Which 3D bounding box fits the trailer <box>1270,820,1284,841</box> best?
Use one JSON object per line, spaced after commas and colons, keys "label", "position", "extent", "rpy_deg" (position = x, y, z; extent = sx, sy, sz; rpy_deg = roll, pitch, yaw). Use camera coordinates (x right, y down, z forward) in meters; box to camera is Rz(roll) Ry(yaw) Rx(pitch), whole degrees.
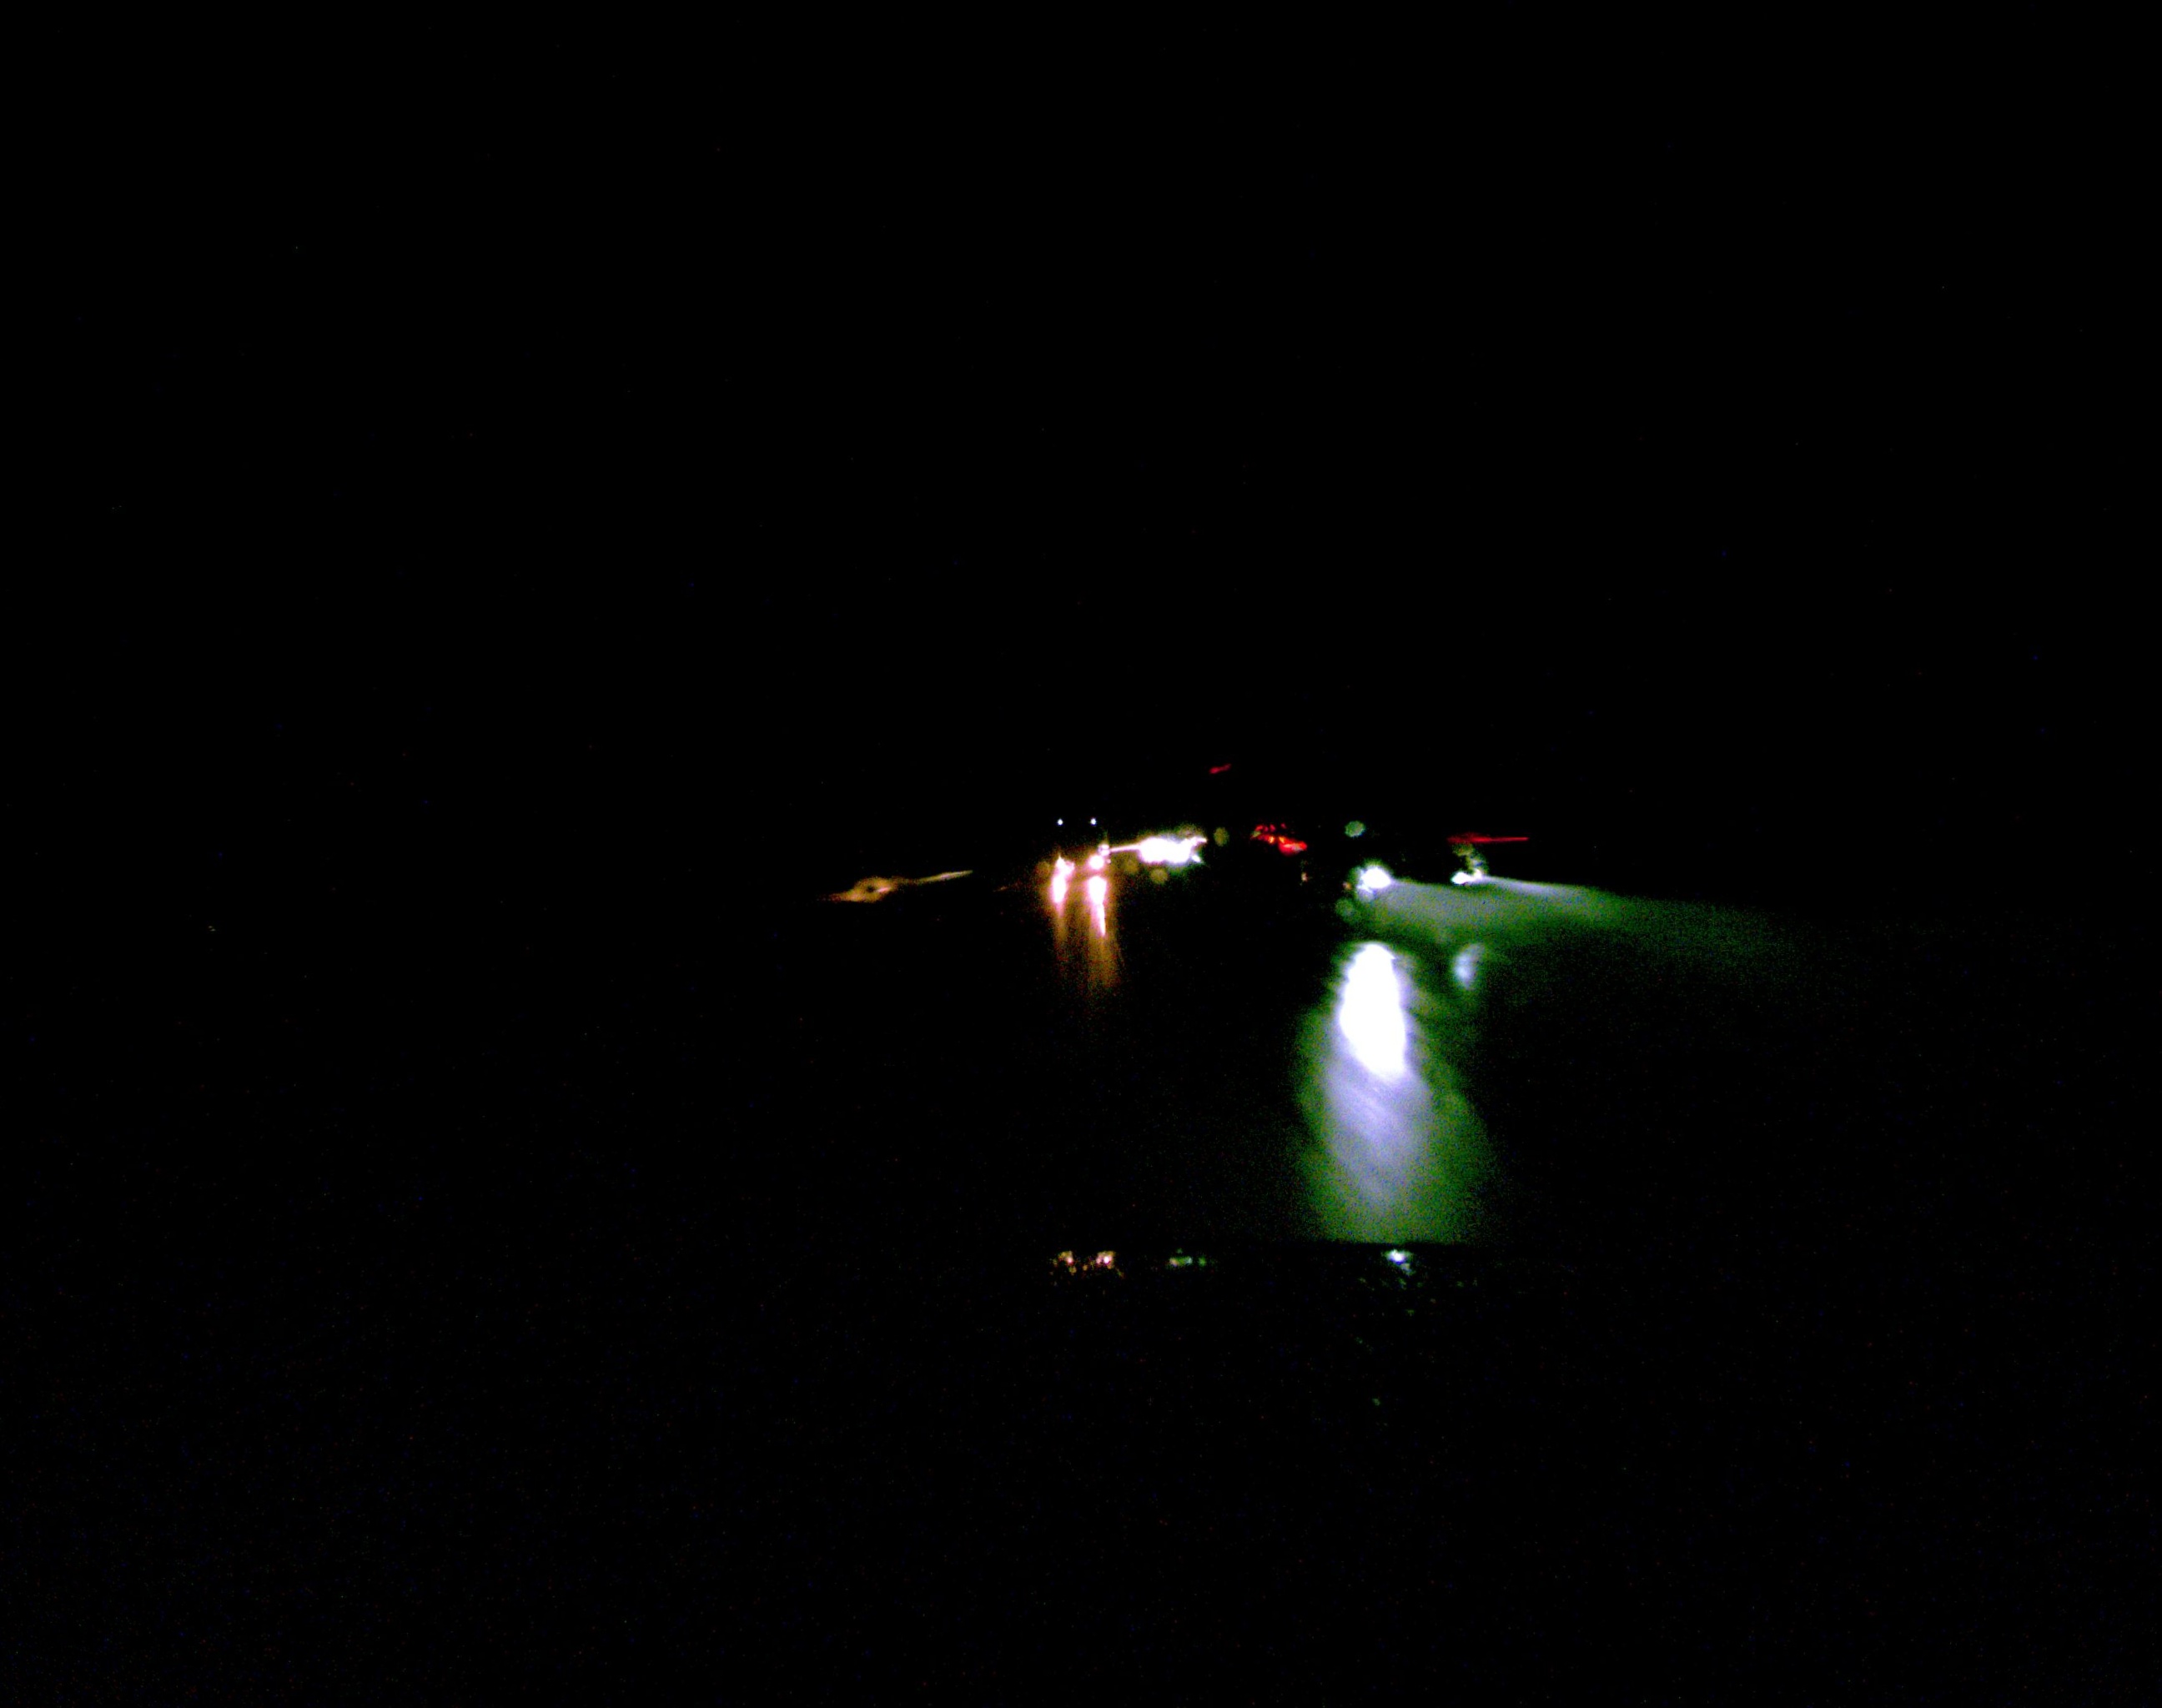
{"label": "trailer", "position": [47.864, -5.722, 185.811], "extent": [2.778, 4.947, 14.115], "rpy_deg": [-2, 2, 13]}

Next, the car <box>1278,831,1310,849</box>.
{"label": "car", "position": [18.267, -1.181, 65.348], "extent": [1.746, 1.484, 4.000], "rpy_deg": [-2, 1, 2]}

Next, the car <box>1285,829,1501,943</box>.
{"label": "car", "position": [6.063, 0.468, 15.720], "extent": [2.142, 1.874, 5.553], "rpy_deg": [-2, 2, 0]}

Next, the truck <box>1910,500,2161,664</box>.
{"label": "truck", "position": [34.970, -9.263, 24.358], "extent": [2.420, 3.759, 11.210], "rpy_deg": [-3, 2, -22]}

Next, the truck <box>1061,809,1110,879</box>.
{"label": "truck", "position": [0.561, -0.837, 53.977], "extent": [2.502, 4.224, 13.642], "rpy_deg": [-2, 2, 4]}

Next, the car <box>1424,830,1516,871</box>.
{"label": "car", "position": [15.671, -0.173, 30.867], "extent": [1.746, 1.484, 4.000], "rpy_deg": [-2, 1, 2]}

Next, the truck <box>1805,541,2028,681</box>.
{"label": "truck", "position": [32.679, -9.324, 29.996], "extent": [2.420, 3.759, 5.419], "rpy_deg": [-3, 2, -22]}

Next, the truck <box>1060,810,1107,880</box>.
{"label": "truck", "position": [0.240, -0.629, 49.502], "extent": [2.502, 4.224, 5.982], "rpy_deg": [-2, 2, 4]}

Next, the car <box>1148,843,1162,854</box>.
{"label": "car", "position": [11.834, -0.944, 121.966], "extent": [1.998, 1.553, 4.645], "rpy_deg": [-2, 2, 2]}

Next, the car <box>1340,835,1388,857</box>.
{"label": "car", "position": [20.028, -0.572, 53.975], "extent": [1.998, 1.484, 4.000], "rpy_deg": [-2, 1, 3]}
